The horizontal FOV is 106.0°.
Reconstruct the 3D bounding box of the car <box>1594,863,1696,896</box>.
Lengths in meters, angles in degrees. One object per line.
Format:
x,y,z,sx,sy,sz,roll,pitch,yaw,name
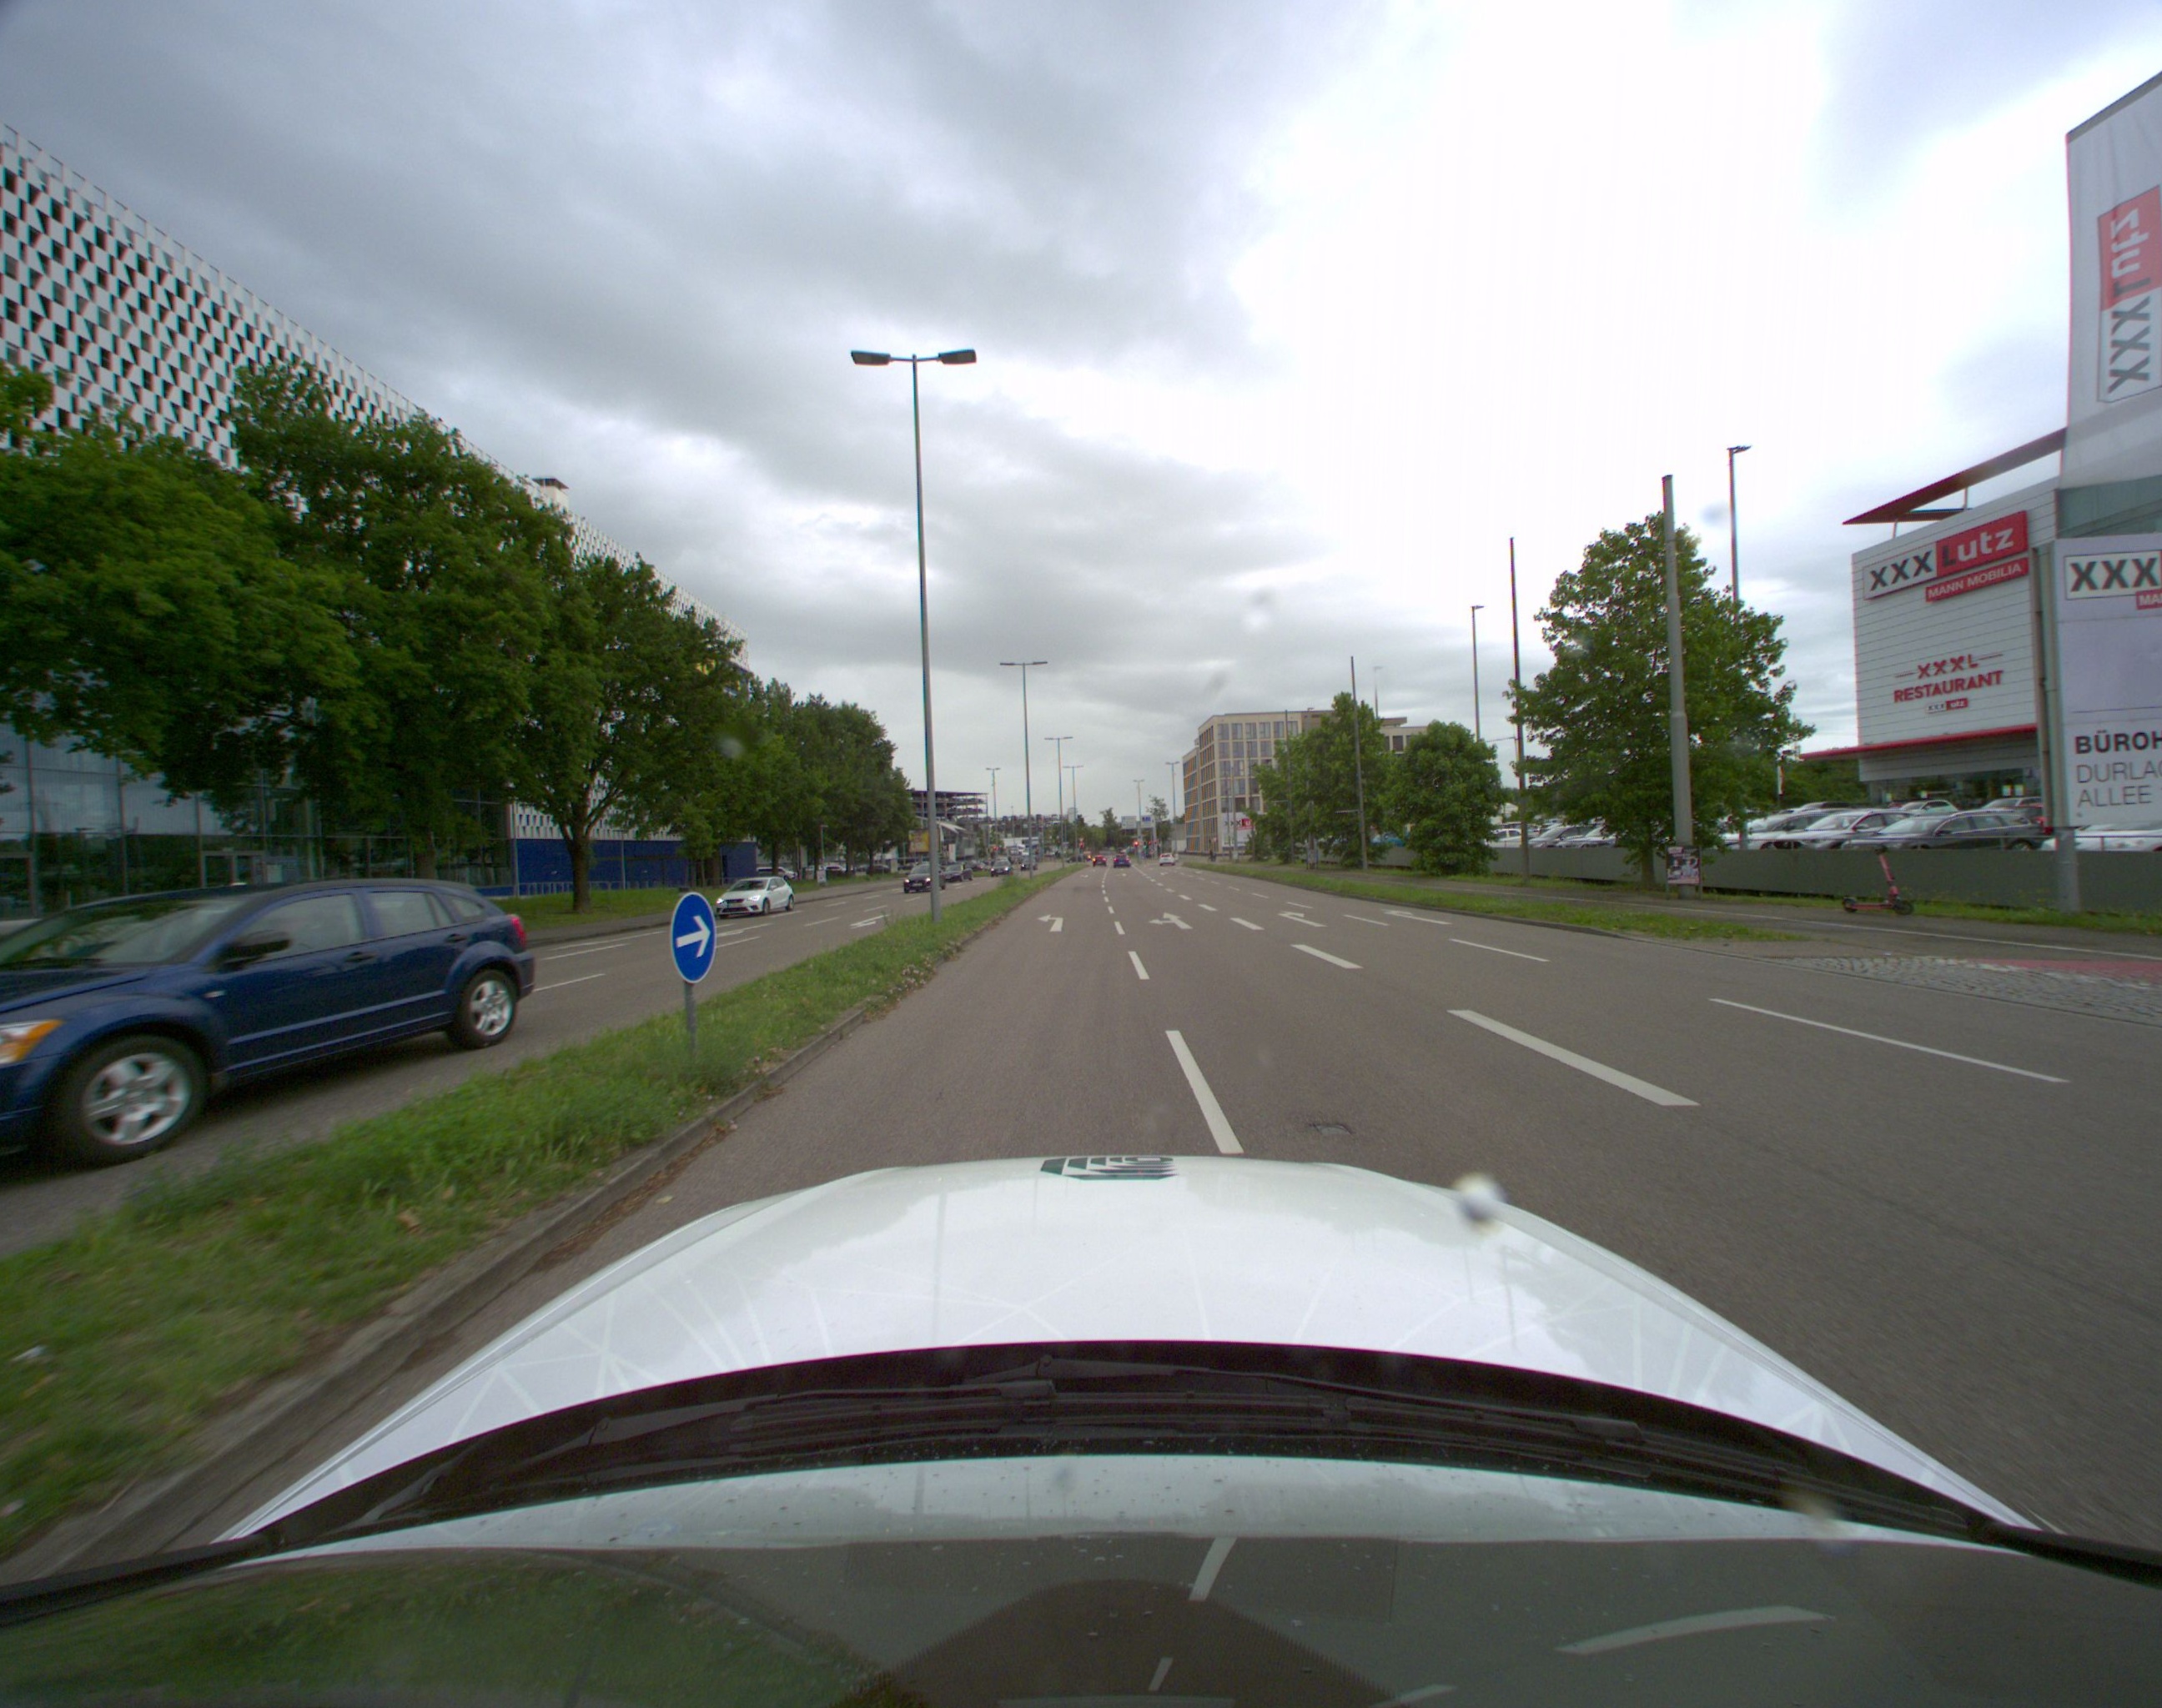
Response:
29.169,1.309,42.215,4.041,1.551,1.763,-2,0,0,car

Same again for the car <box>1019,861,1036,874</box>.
-6.575,1.618,100.377,1.927,1.455,4.177,-2,0,-3,car

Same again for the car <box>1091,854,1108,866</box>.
2.362,0.842,105.245,1.981,1.428,4.240,-2,-1,0,car

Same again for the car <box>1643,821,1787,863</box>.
23.535,-0.450,30.331,4.042,1.350,1.763,-2,2,-1,car

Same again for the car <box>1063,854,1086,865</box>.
-1.061,0.927,137.276,3.669,1.771,1.743,-2,2,-4,car

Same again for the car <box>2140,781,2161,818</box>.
48.792,-2.455,35.178,3.552,1.587,1.742,-2,0,4,car

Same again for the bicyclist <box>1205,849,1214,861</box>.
16.985,0.131,107.668,0.705,1.504,0.989,-2,0,-35,bicyclist

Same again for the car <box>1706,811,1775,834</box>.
48.119,-2.275,59.470,3.615,1.516,1.704,-2,2,5,car

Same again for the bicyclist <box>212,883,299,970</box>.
-15.994,1.380,15.798,0.638,1.577,1.000,-1,0,0,bicyclist

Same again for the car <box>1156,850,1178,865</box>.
10.653,0.406,100.671,1.979,1.752,4.197,-2,0,15,car

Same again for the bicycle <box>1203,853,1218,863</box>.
17.121,0.545,107.481,0.705,1.295,1.989,-2,0,-35,bicycle

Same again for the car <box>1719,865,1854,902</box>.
29.168,1.200,33.752,4.040,1.350,1.764,-2,0,0,car

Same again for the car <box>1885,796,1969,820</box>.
54.259,-2.933,52.292,3.579,1.376,1.704,-2,2,3,car

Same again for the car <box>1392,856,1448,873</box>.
29.304,0.915,70.454,4.039,1.350,1.764,-2,0,1,car

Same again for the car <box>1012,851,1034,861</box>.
-10.693,0.360,150.681,3.978,1.790,1.845,-2,2,-4,car

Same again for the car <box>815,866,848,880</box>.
-37.520,2.884,122.560,4.424,1.711,1.998,-2,4,-4,car

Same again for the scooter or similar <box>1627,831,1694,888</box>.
15.355,0.144,21.636,0.646,1.421,1.824,-3,-1,9,scooter or similar

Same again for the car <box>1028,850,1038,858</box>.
-11.466,-0.079,194.744,1.767,1.705,3.924,-2,2,6,car

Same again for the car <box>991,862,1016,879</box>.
-7.265,1.530,76.368,1.774,1.455,4.182,-4,0,1,car

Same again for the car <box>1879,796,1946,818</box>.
63.994,-3.622,62.696,3.626,1.498,1.707,-2,2,-5,car

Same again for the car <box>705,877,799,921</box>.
-12.514,1.668,31.291,1.860,1.454,4.167,-3,-1,0,car

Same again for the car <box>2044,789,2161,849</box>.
33.231,-1.132,25.295,4.294,1.743,1.891,-2,2,3,car

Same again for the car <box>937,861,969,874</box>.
-18.894,2.012,120.454,4.410,1.660,1.996,-2,-1,-6,car

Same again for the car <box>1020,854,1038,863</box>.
-10.323,0.847,161.431,3.597,1.667,1.547,-2,2,-4,car

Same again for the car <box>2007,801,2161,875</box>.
23.570,-0.406,17.818,4.358,1.461,1.962,-2,2,1,car

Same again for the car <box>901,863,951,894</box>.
-8.404,1.320,44.495,1.751,1.453,4.002,-5,0,2,car

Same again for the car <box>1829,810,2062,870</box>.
23.805,-0.398,22.557,4.449,1.419,1.868,-2,2,1,car

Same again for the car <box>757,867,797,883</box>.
-44.411,3.043,118.983,5.115,1.963,1.881,-2,2,0,car

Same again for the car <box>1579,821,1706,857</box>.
23.620,-0.648,34.354,4.140,1.350,1.809,-2,2,-1,car

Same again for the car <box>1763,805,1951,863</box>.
23.588,-0.612,24.861,4.039,1.540,1.765,-2,2,1,car

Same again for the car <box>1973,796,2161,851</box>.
33.579,-1.008,27.771,4.155,1.664,1.835,-2,0,3,car

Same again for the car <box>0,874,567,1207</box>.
-6.071,0.993,5.788,1.925,1.486,4.438,-4,0,0,car

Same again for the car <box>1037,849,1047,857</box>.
-9.284,-0.166,194.747,1.767,1.705,3.924,-2,2,6,car

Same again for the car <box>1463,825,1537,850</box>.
24.222,-0.956,47.104,3.508,1.307,1.604,-2,2,-5,car

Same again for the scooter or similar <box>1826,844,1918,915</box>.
13.910,0.422,14.360,0.369,1.191,1.248,-3,0,0,scooter or similar

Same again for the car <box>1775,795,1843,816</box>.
48.820,-3.265,54.665,3.242,1.229,1.463,-2,2,0,car

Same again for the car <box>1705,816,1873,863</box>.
23.561,-0.508,27.205,4.042,1.350,1.835,-2,2,-1,car

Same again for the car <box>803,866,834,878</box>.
-43.120,2.956,133.872,4.410,1.660,1.996,-2,-1,-6,car

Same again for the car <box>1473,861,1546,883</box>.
29.179,1.200,55.524,4.039,1.350,1.764,-2,0,1,car

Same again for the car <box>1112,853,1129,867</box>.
4.533,0.650,93.727,1.828,1.514,4.001,-2,0,1,car

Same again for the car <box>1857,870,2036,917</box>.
28.923,1.296,27.308,4.039,1.350,1.764,-2,0,1,car

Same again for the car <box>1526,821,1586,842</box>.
39.157,-1.873,67.211,3.827,1.507,1.785,-3,1,3,car

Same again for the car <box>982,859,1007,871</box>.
-14.244,1.835,134.034,3.849,1.634,1.722,-2,2,-5,car

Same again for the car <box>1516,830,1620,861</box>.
23.846,-0.434,39.972,4.042,1.350,1.763,-2,2,-1,car

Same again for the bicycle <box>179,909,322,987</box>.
-16.003,1.772,15.779,0.640,1.251,2.056,-1,0,0,bicycle

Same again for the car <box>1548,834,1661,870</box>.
23.956,-0.117,37.350,4.042,1.399,1.763,-2,2,-1,car

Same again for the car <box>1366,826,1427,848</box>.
24.685,-1.325,63.756,4.059,1.524,1.810,-2,1,-3,car

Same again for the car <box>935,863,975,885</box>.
-9.711,1.550,62.936,1.762,1.452,4.415,-4,0,8,car
